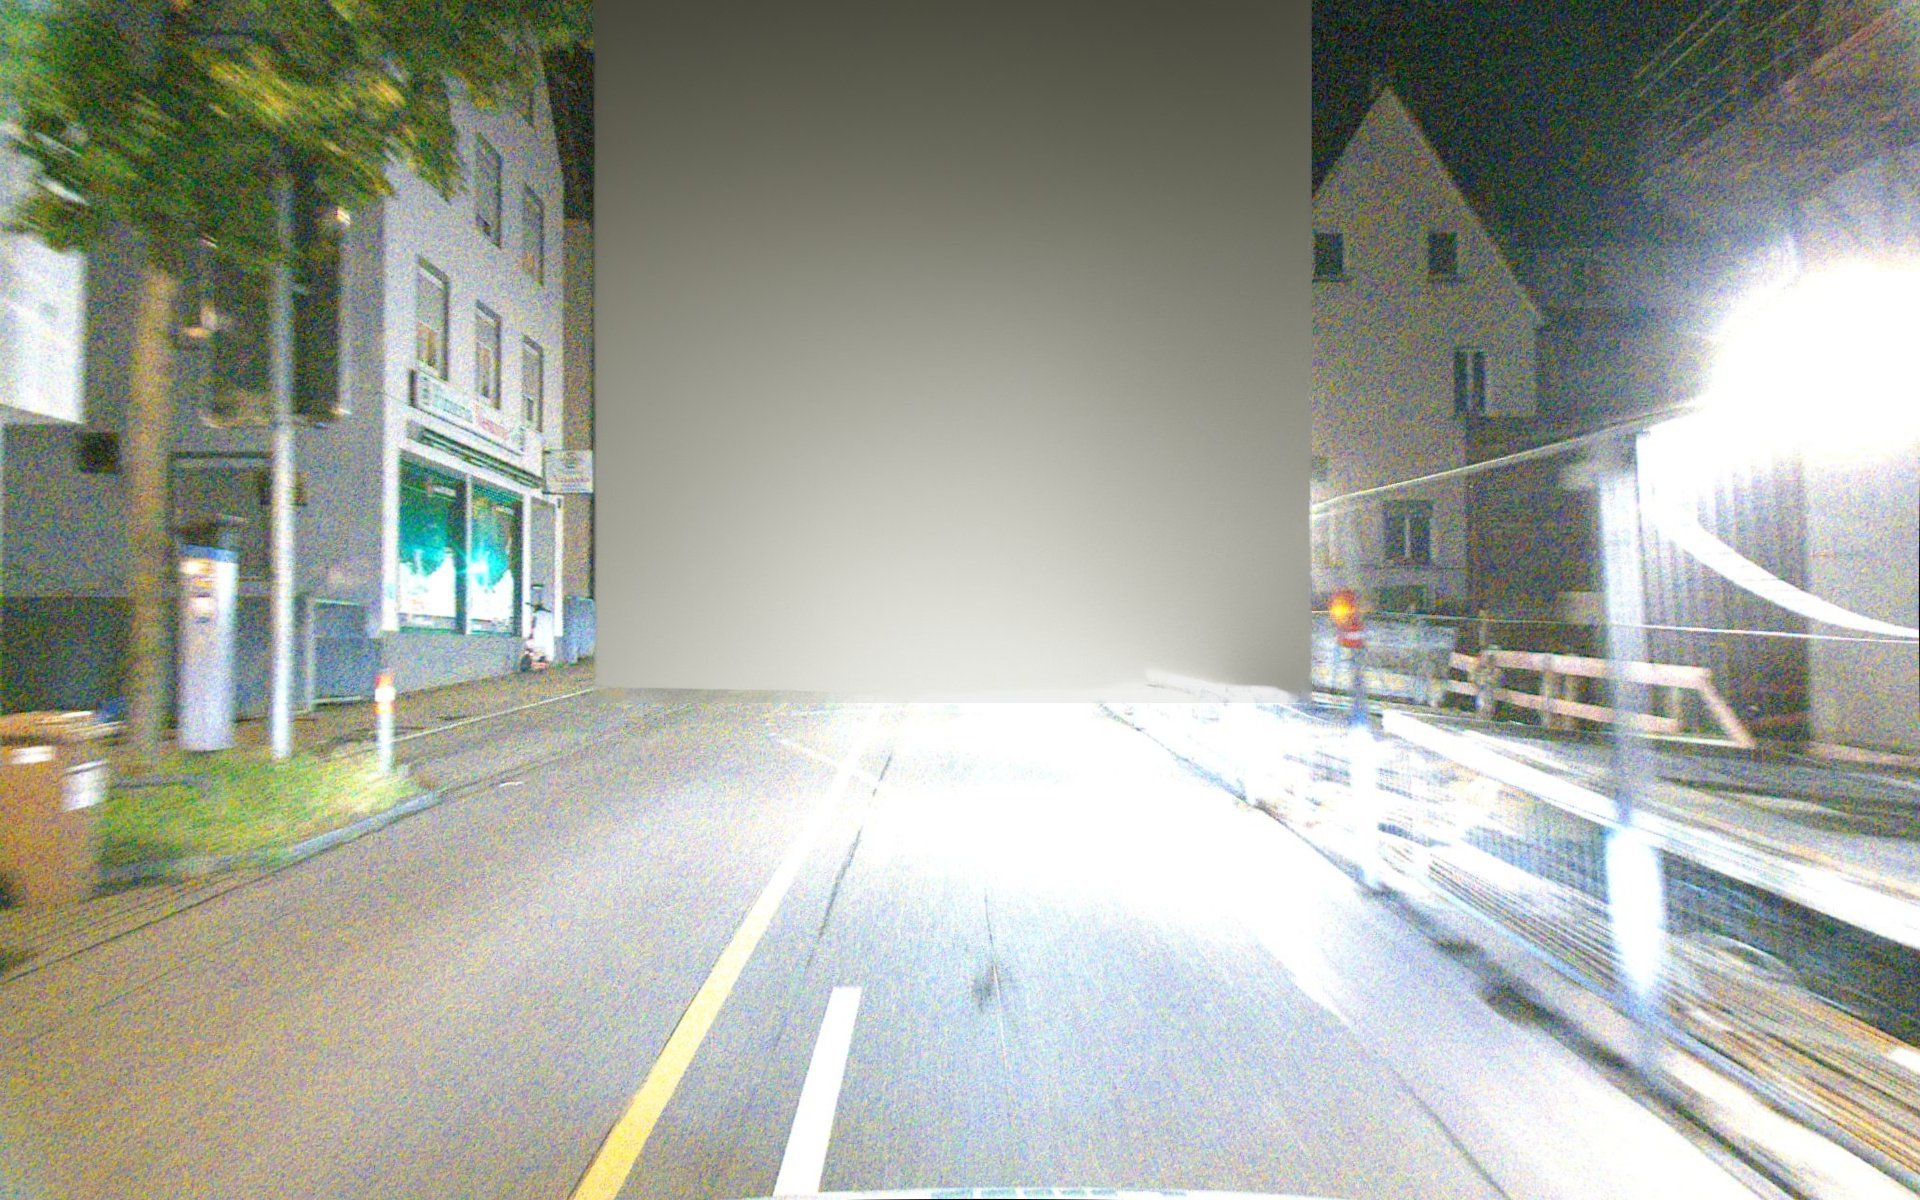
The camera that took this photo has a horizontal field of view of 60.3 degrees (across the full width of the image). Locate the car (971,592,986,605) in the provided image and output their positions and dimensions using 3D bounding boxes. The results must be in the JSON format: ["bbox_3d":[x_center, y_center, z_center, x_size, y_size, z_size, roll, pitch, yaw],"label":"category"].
[{"bbox_3d":[2.369,-0.186,214.634,1.775,1.622,4.273,-2,1,0],"label":"car"}]

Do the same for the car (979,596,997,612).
[{"bbox_3d":[2.826,0.397,165.700,1.727,1.502,4.080,-2,1,0],"label":"car"}]

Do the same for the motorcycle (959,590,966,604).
[{"bbox_3d":[0.330,-0.413,213.143,0.912,1.783,2.624,1,-1,0],"label":"motorcycle"}]

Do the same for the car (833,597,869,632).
[{"bbox_3d":[-5.006,0.680,75.978,1.615,1.541,3.699,1,-1,-4],"label":"car"}]

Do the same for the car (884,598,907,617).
[{"bbox_3d":[-5.373,0.661,138.054,1.826,1.518,4.279,1,0,-1],"label":"car"}]

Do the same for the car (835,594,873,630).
[{"bbox_3d":[-5.276,0.574,82.048,1.812,1.679,4.668,1,1,-4],"label":"car"}]

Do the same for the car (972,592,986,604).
[{"bbox_3d":[2.573,-0.280,227.871,1.830,1.553,4.149,-2,1,0],"label":"car"}]

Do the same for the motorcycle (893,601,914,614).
[{"bbox_3d":[-5.270,0.674,154.630,0.710,1.167,2.174,-1,1,-42],"label":"motorcycle"}]

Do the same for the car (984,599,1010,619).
[{"bbox_3d":[2.830,0.687,127.257,1.808,1.442,4.644,-3,0,-1],"label":"car"}]

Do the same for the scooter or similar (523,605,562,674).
[{"bbox_3d":[-7.661,0.715,30.399,0.324,1.247,1.335,1,-1,2],"label":"scooter or similar"}]

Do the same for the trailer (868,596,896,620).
[{"bbox_3d":[-5.567,0.608,118.379,1.603,1.668,3.441,1,-1,4],"label":"trailer"}]

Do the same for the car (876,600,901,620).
[{"bbox_3d":[-5.347,0.744,124.339,1.798,1.472,4.543,0,1,-1],"label":"car"}]

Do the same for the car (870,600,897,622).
[{"bbox_3d":[-5.214,0.727,113.769,1.778,1.510,4.346,0,0,-2],"label":"car"}]

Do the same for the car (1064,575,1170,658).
[{"bbox_3d":[3.678,0.374,39.595,1.873,1.859,4.898,0,0,-3],"label":"car"}]
